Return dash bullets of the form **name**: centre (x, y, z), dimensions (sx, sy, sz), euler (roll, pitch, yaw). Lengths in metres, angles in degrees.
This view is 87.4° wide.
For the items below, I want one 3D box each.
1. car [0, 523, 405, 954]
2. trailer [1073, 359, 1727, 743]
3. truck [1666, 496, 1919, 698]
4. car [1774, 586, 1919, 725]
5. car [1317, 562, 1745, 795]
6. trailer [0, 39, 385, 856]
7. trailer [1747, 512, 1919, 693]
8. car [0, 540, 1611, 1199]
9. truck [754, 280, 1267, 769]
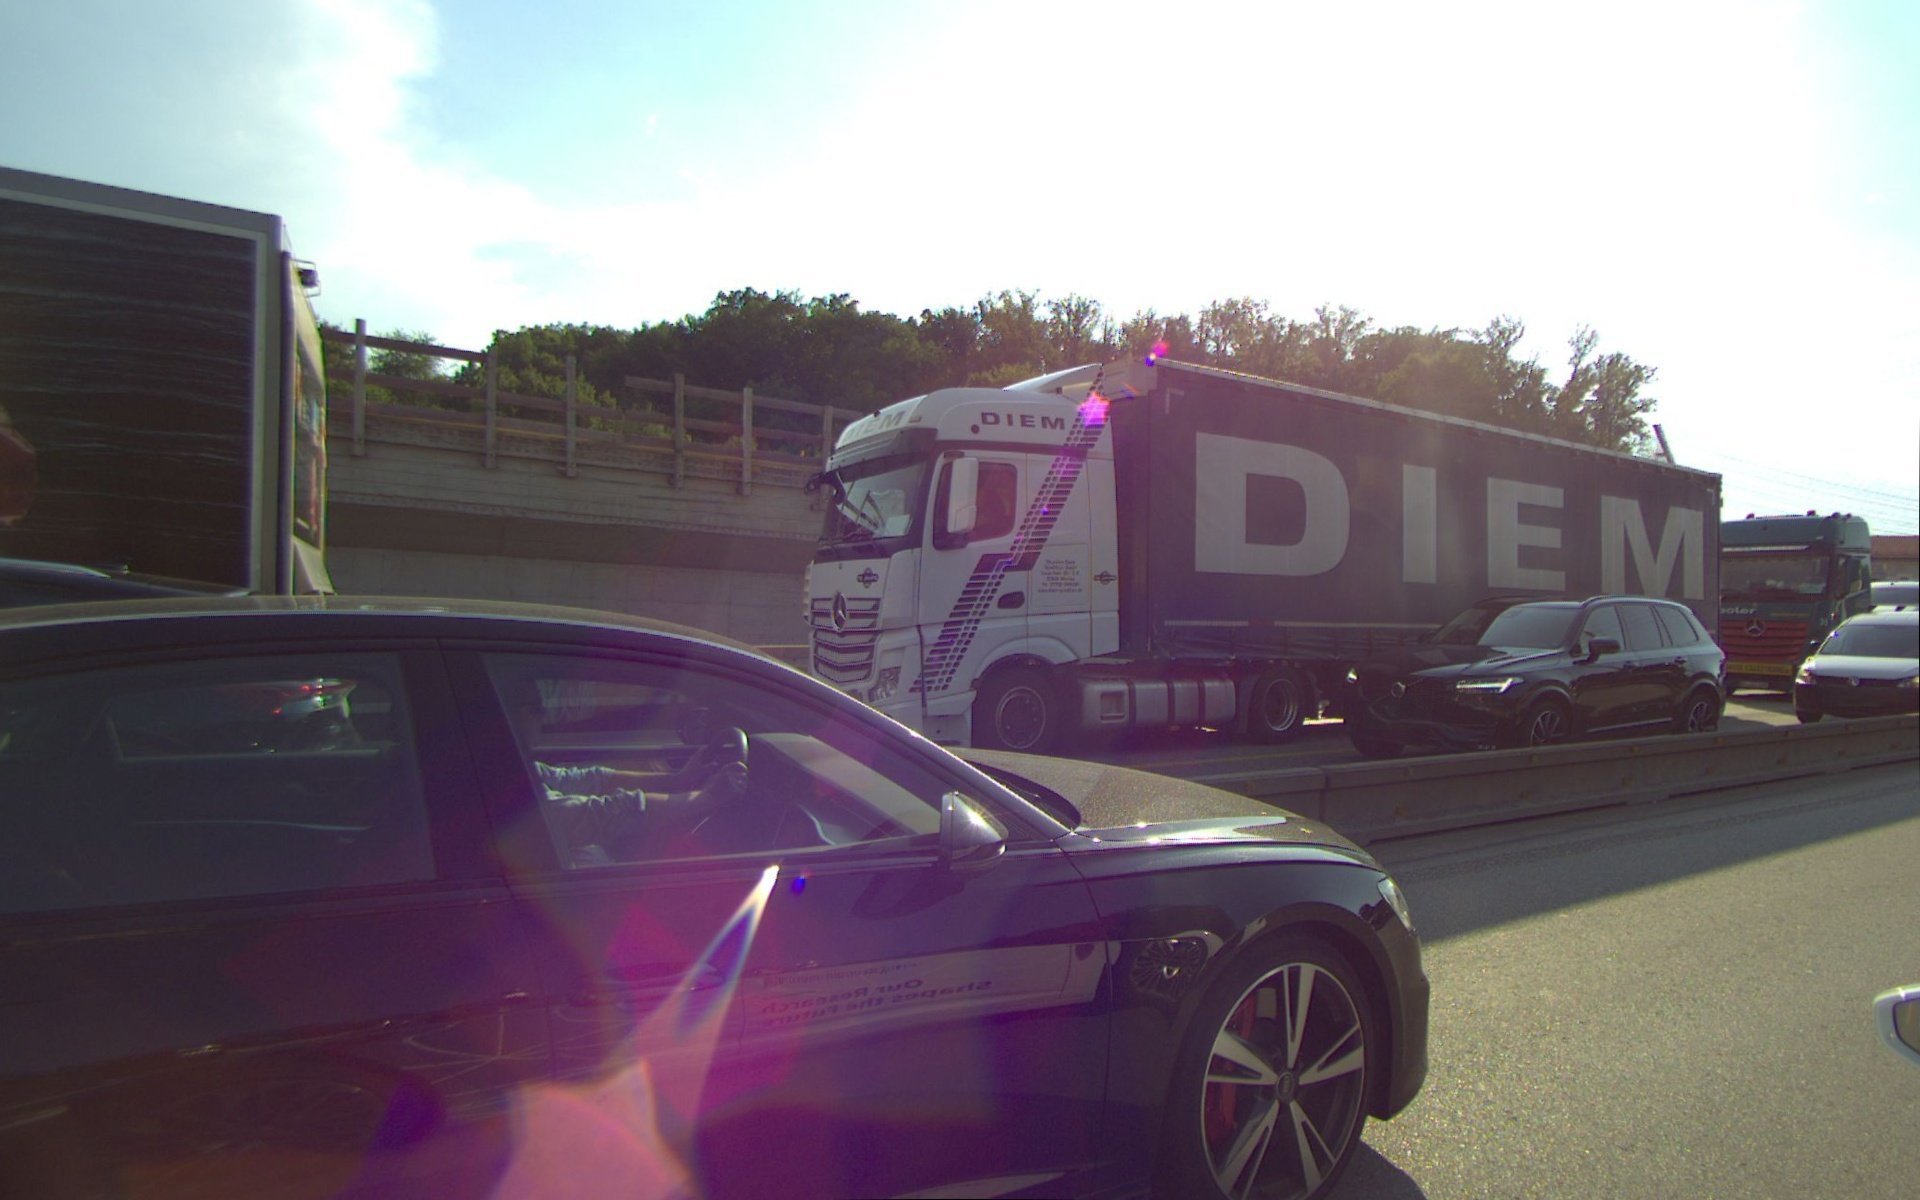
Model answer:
- **car**: centre (-5.241, 0.505, 3.907), dimensions (5.308, 1.626, 1.867), euler (2, -3, -31)
- **trailer**: centre (7.431, -0.338, 15.366), dimensions (12.353, 4.177, 2.700), euler (2, -2, -32)
- **truck**: centre (18.831, 0.064, 22.291), dimensions (7.034, 3.855, 2.734), euler (2, -2, -33)
- **car**: centre (15.220, 0.921, 16.199), dimensions (5.077, 1.958, 1.813), euler (3, -4, -34)
- **car**: centre (6.163, 0.779, 10.647), dimensions (4.845, 1.989, 1.823), euler (3, -1, -32)
- **trailer**: centre (-7.555, -0.912, 5.938), dimensions (7.069, 4.525, 2.897), euler (2, 0, -30)
- **trailer**: centre (26.053, 0.313, 26.961), dimensions (15.873, 3.866, 2.734), euler (2, -2, -33)
- **car**: centre (-0.865, 0.720, 2.439), dimensions (5.158, 1.500, 1.932), euler (2, -2, -29)
- **truck**: centre (0.617, -0.554, 11.052), dimensions (4.976, 4.169, 2.734), euler (2, -2, -33)
